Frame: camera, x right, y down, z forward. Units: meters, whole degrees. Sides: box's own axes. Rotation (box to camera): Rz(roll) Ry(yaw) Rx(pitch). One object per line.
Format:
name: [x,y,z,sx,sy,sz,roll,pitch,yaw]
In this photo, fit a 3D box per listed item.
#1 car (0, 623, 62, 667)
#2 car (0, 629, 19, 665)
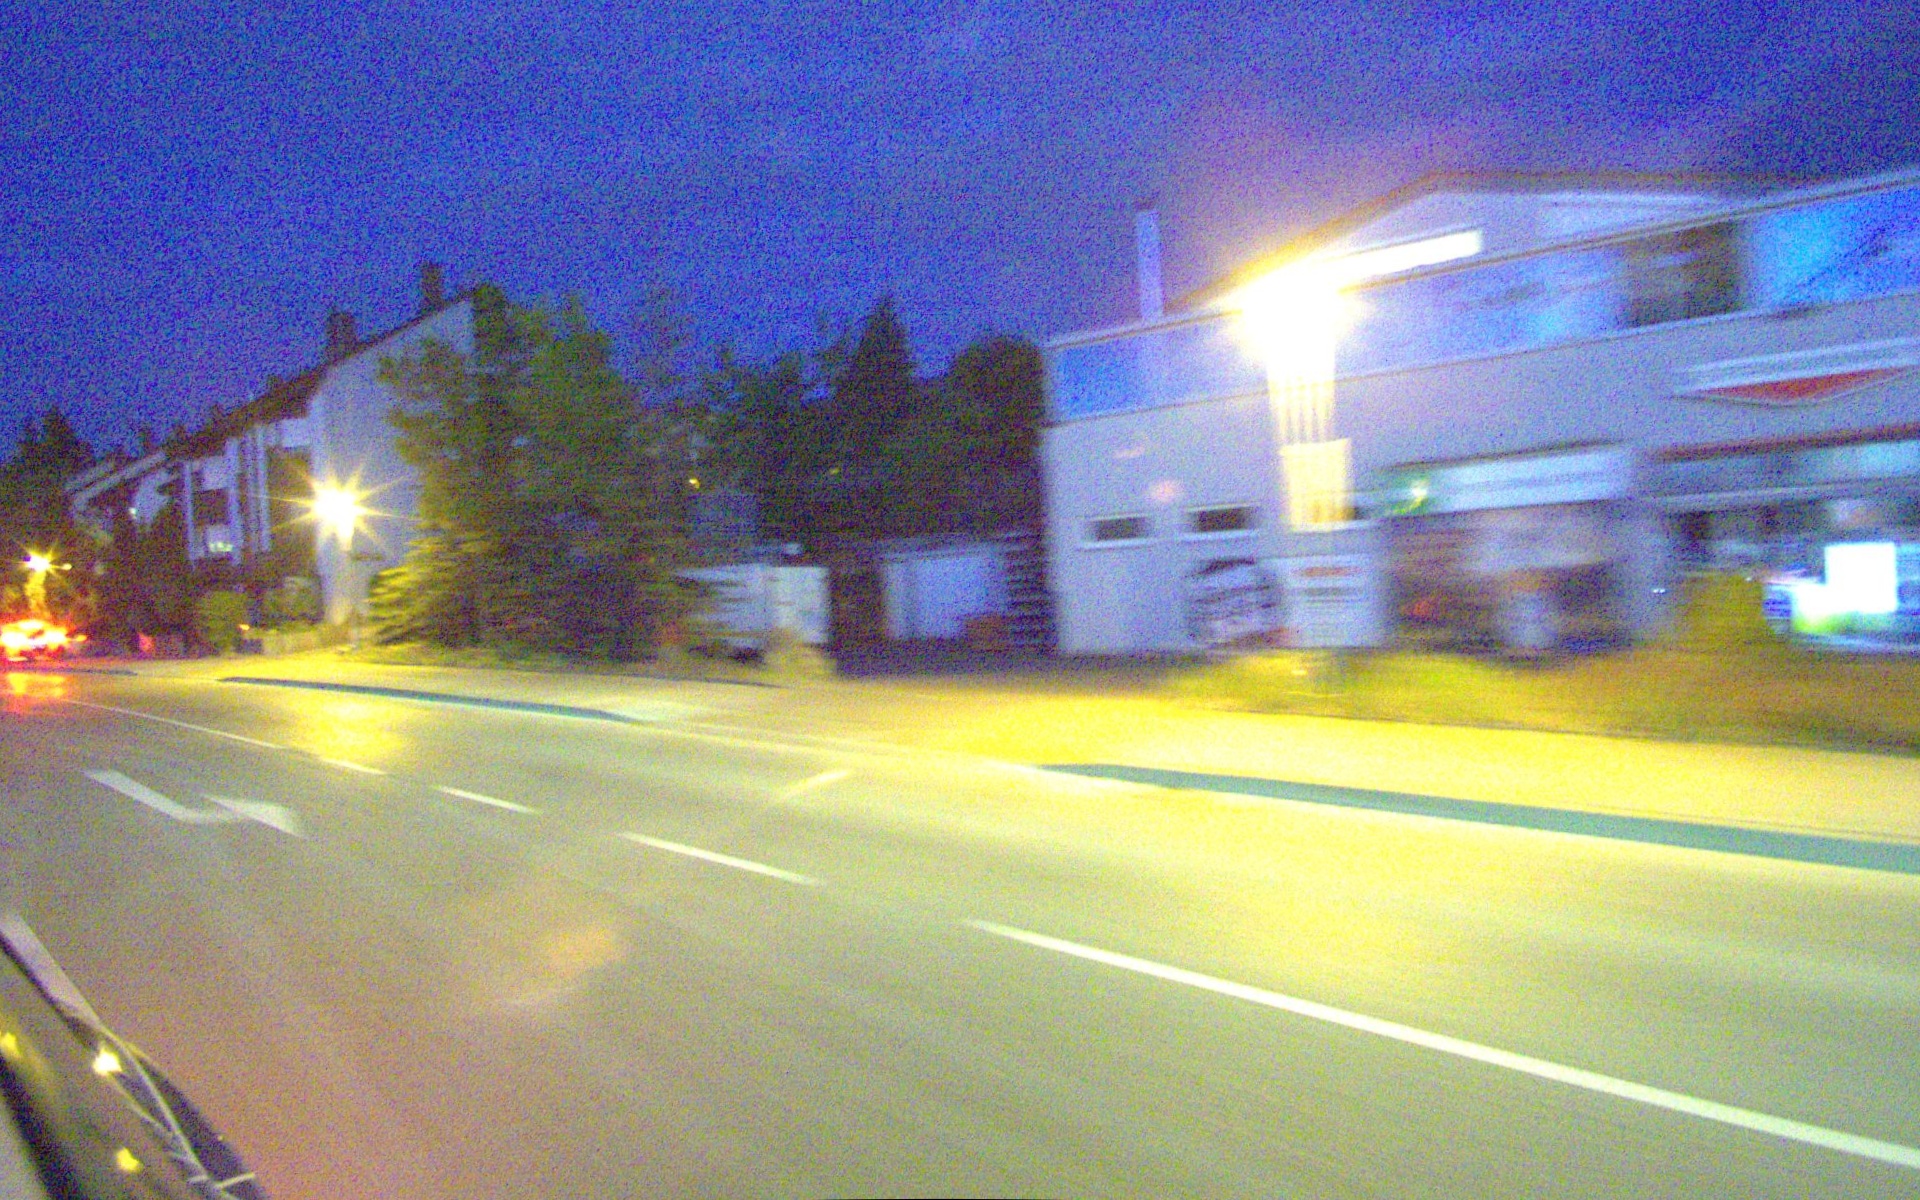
car: [-35.792,1.702,38.219,4.908,1.456,1.832,-2,0,37]
car: [-40.826,1.997,41.568,4.581,1.390,1.979,-2,0,31]
